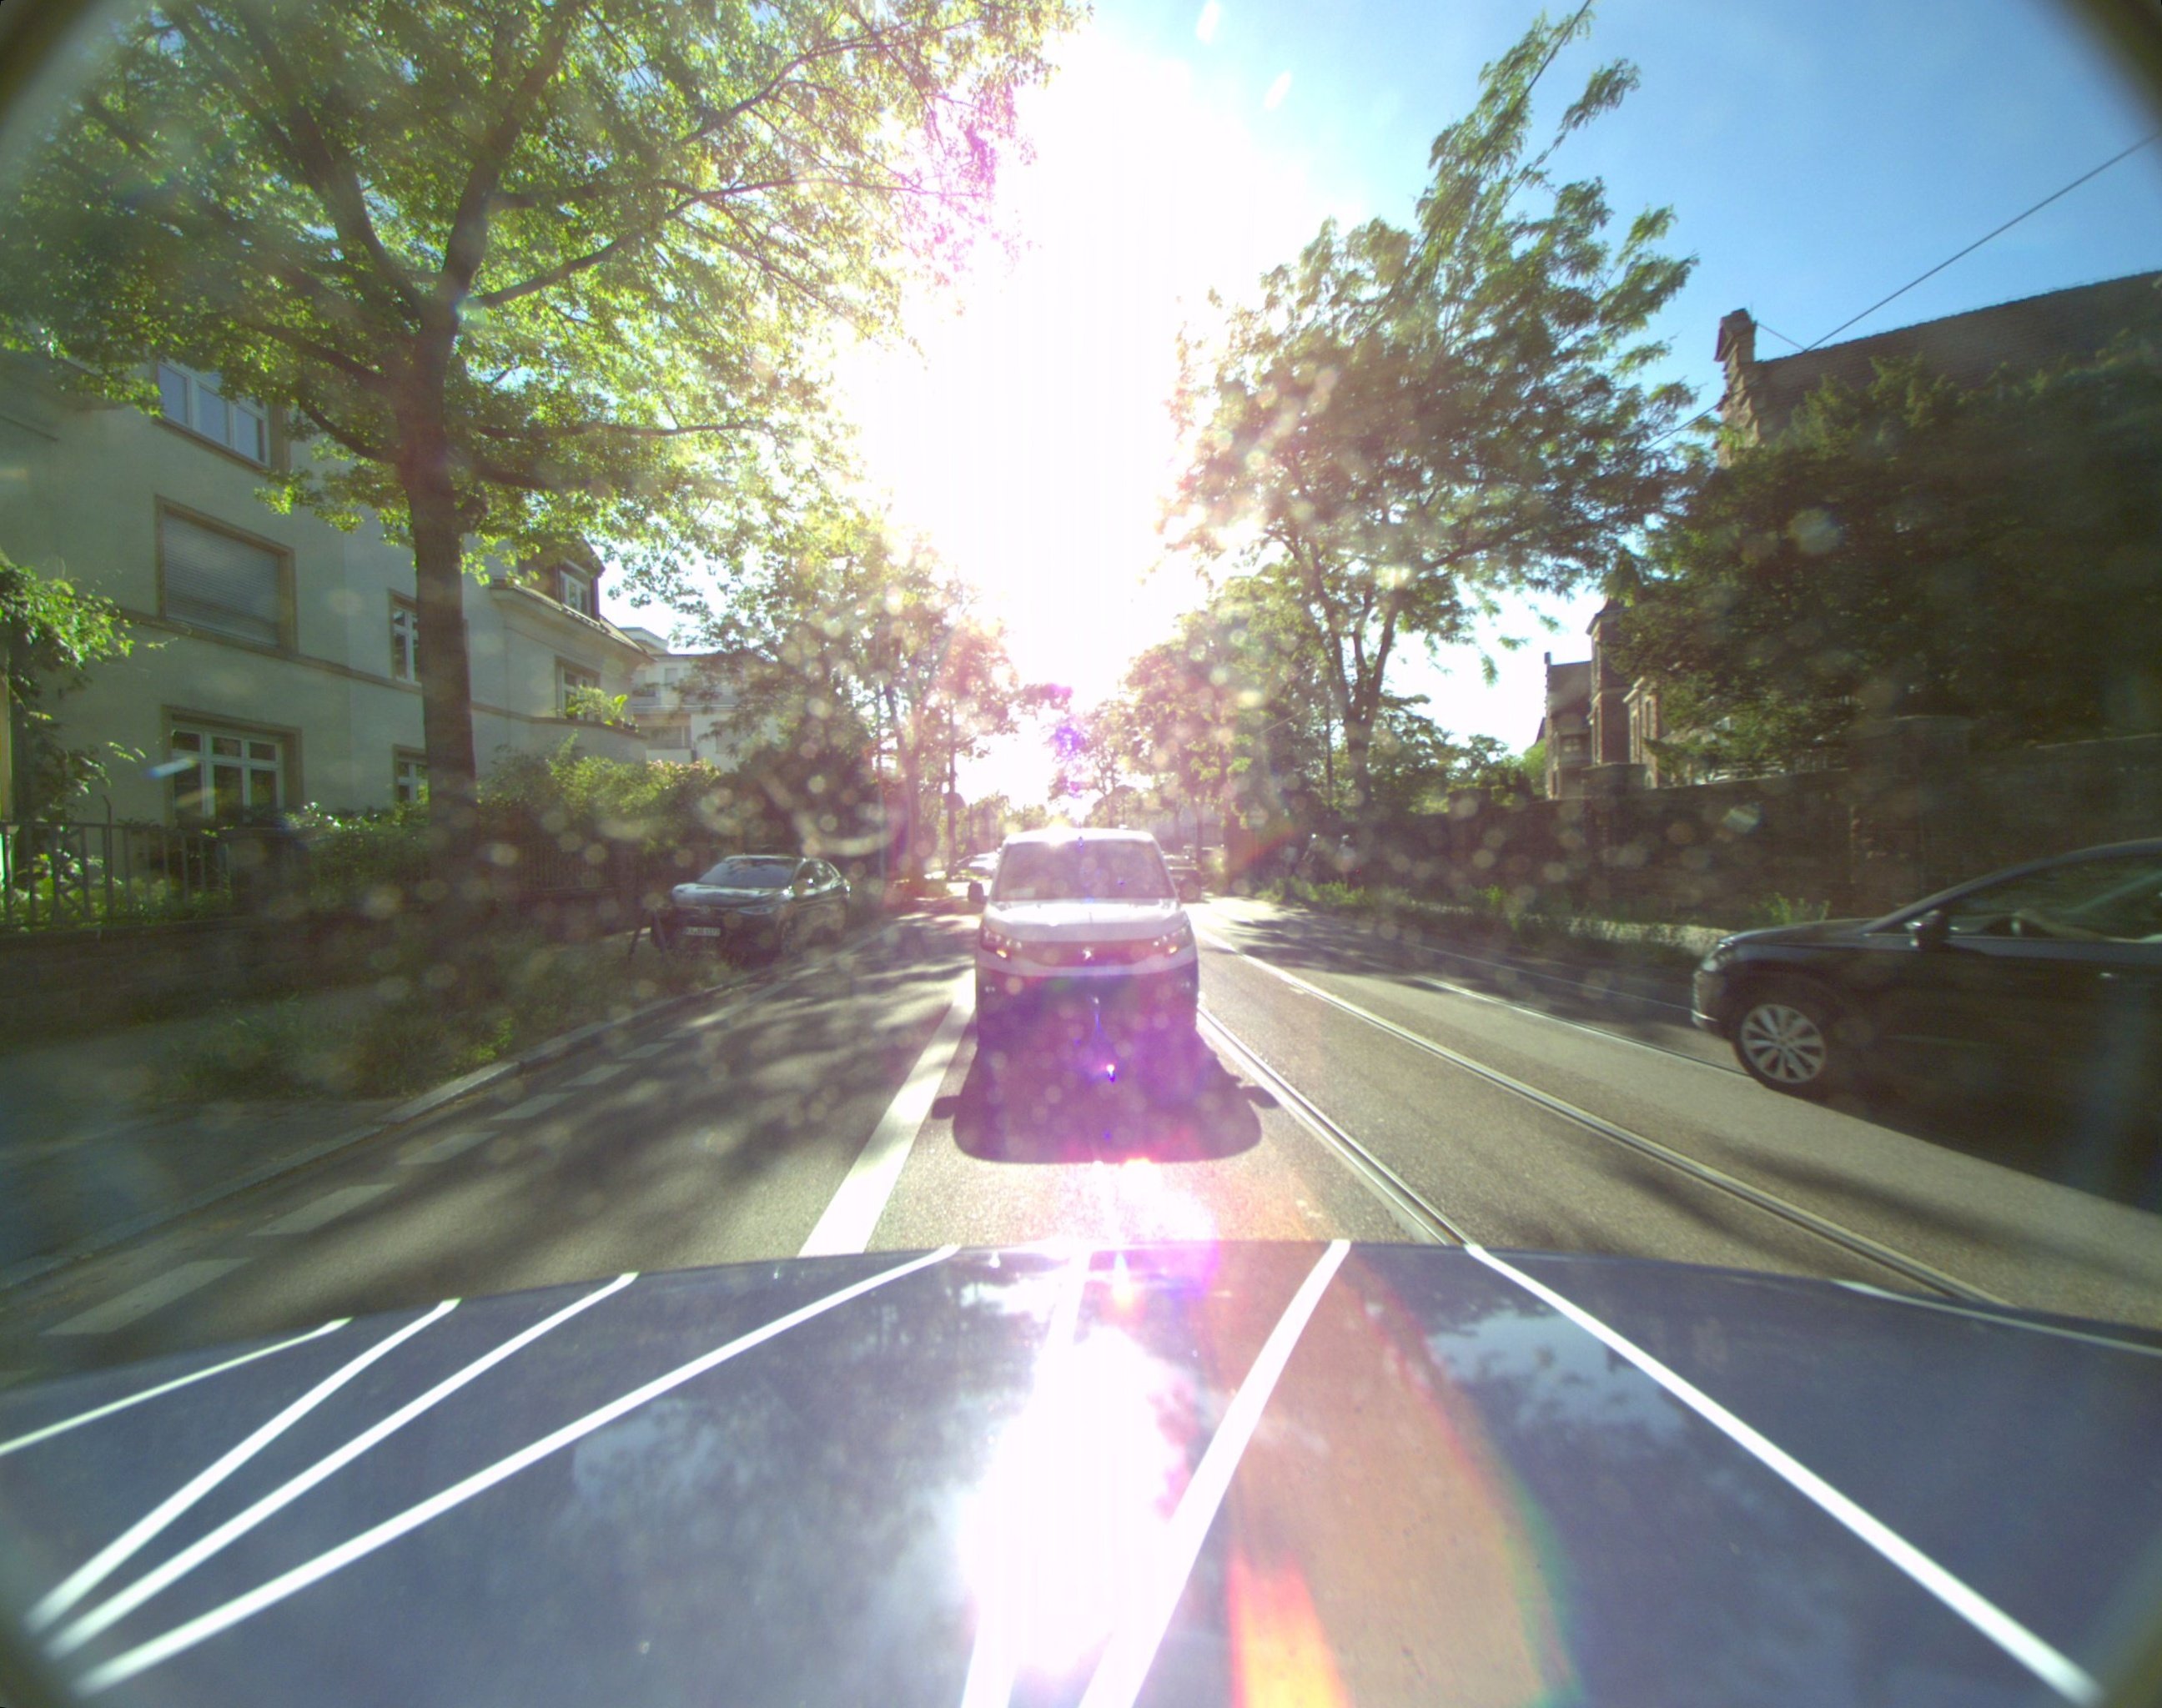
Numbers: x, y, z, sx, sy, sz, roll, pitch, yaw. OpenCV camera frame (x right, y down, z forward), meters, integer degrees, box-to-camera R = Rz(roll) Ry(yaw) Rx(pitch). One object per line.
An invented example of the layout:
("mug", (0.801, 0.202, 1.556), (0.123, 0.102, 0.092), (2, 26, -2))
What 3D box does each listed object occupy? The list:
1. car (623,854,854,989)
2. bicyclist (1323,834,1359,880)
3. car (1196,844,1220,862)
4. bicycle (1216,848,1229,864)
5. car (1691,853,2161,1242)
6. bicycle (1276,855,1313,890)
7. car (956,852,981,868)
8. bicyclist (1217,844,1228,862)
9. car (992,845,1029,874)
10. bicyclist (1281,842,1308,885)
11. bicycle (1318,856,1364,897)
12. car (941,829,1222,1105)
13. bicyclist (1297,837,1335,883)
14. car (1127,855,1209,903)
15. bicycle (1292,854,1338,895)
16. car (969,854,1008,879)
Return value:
("car", (-5.357, 0.936, 12.611), (1.999, 1.733, 4.169), (-2, 1, -2))
("bicyclist", (8.204, 0.077, 23.981), (0.734, 1.383, 1.060), (-2, 1, 0))
("car", (13.214, -0.147, 78.754), (1.829, 1.800, 4.005), (-1, 1, 18))
("bicycle", (10.340, 0.141, 55.448), (0.684, 1.072, 1.738), (-2, 1, 16))
("car", (5.475, 0.801, 3.288), (1.928, 1.607, 4.114), (-1, -1, -12))
("bicycle", (7.887, 0.652, 28.105), (0.747, 1.184, 2.088), (-2, 1, 0))
("car", (-10.591, 0.545, 71.834), (1.741, 1.434, 3.999), (-2, 1, 0))
("bicyclist", (10.313, -0.110, 55.369), (0.684, 1.277, 0.872), (-2, 1, 16))
("car", (-4.869, 0.347, 52.805), (1.904, 1.819, 4.248), (-2, 1, 3))
("bicyclist", (7.872, 0.339, 28.046), (0.744, 1.526, 0.751), (-2, 1, 0))
("bicycle", (8.228, 0.678, 24.156), (0.733, 1.184, 2.088), (-2, 1, 0))
("car", (-0.048, 0.721, 7.220), (1.832, 1.788, 4.333), (-1, 1, -2))
("bicyclist", (7.375, 0.167, 23.878), (0.768, 1.383, 1.272), (-2, 1, 0))
("car", (2.881, 0.784, 25.991), (1.741, 1.414, 4.256), (-1, 1, -8))
("bicycle", (7.391, 0.610, 24.090), (0.774, 1.184, 2.102), (-2, 1, 0))
("car", (-5.593, 0.720, 46.433), (1.719, 1.332, 3.917), (-2, 1, 2))
